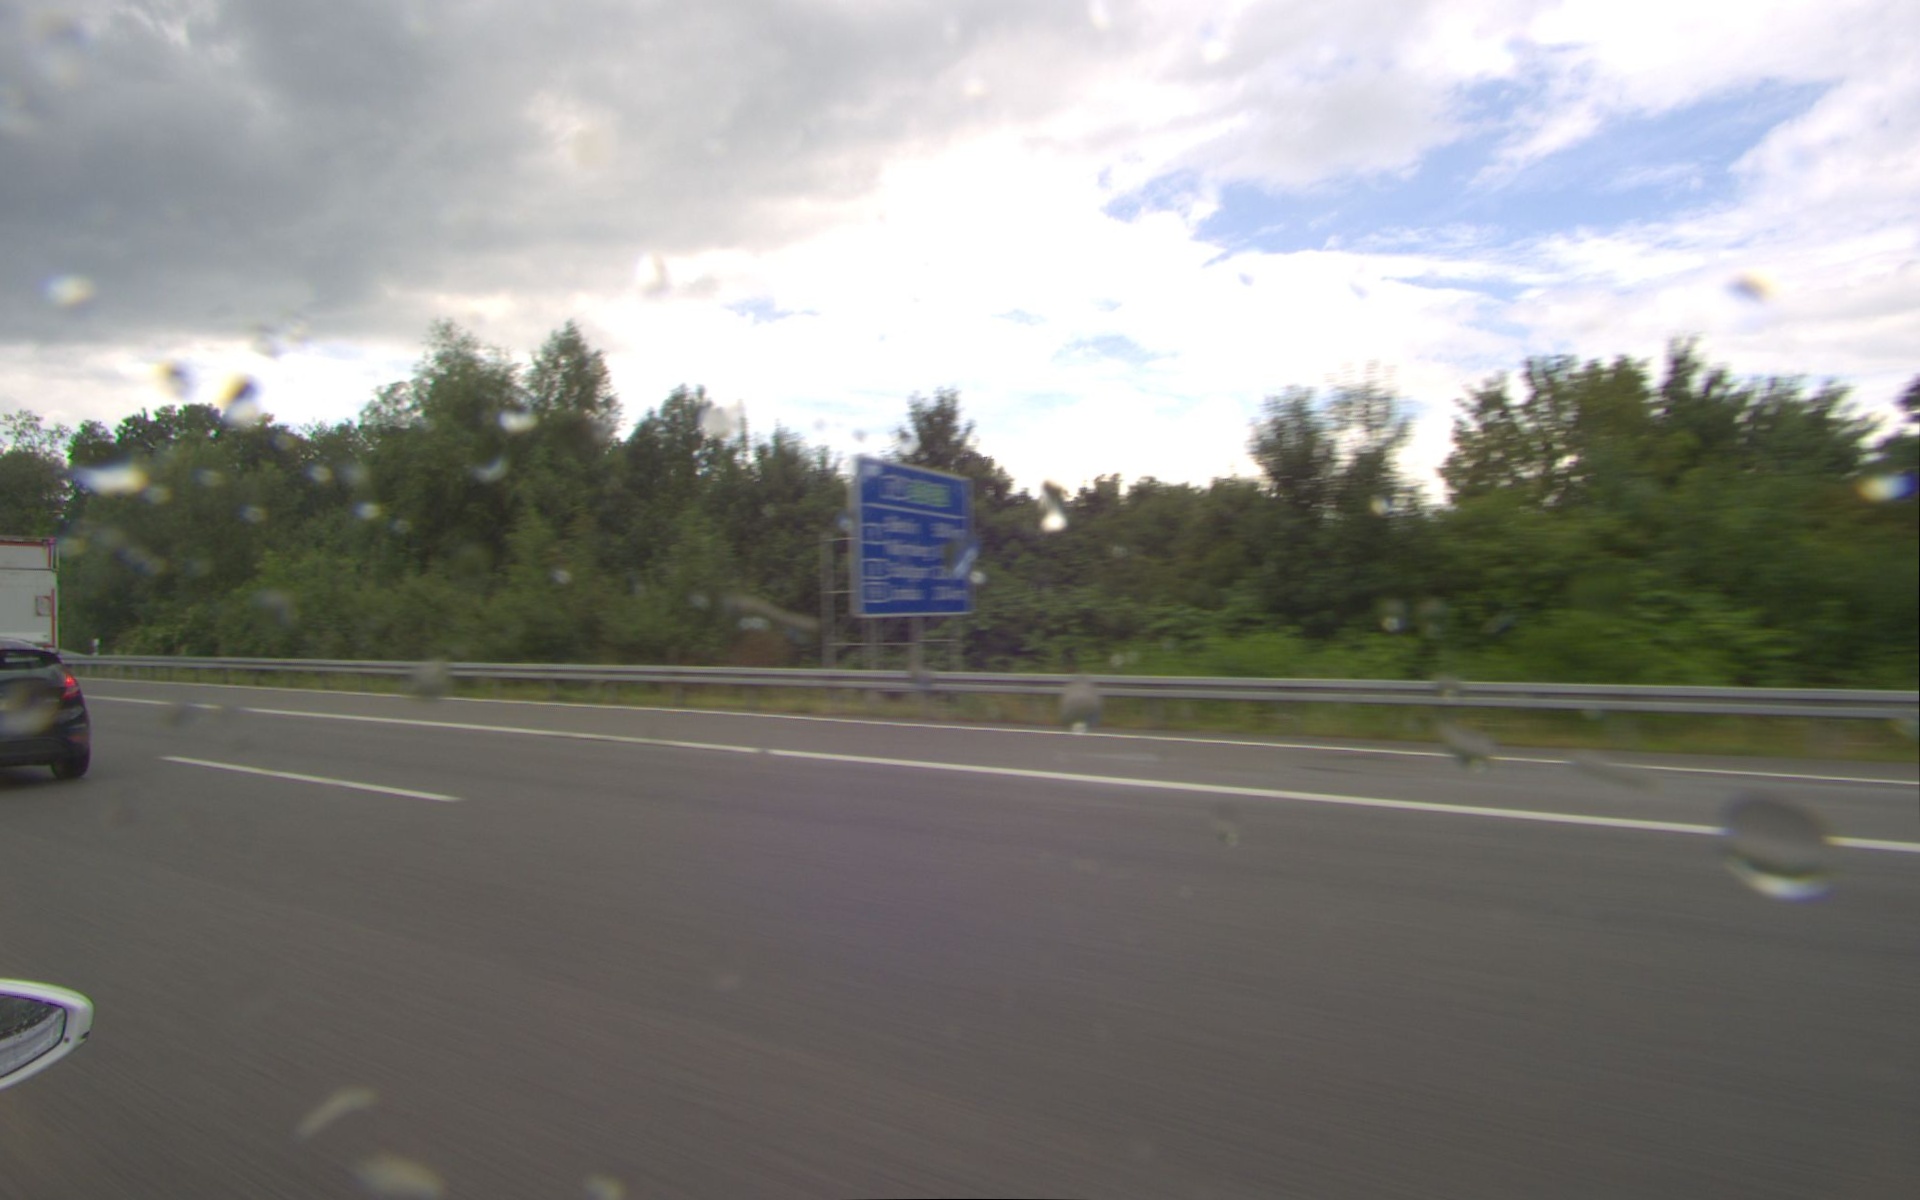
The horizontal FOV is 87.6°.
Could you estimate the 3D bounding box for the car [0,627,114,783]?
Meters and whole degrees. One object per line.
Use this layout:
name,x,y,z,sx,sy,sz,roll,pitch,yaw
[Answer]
car,-10.726,1.003,10.351,4.221,1.425,1.881,-1,-1,33

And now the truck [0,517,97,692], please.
truck,-24.590,0.143,24.198,9.709,3.758,3.126,-1,-1,33
